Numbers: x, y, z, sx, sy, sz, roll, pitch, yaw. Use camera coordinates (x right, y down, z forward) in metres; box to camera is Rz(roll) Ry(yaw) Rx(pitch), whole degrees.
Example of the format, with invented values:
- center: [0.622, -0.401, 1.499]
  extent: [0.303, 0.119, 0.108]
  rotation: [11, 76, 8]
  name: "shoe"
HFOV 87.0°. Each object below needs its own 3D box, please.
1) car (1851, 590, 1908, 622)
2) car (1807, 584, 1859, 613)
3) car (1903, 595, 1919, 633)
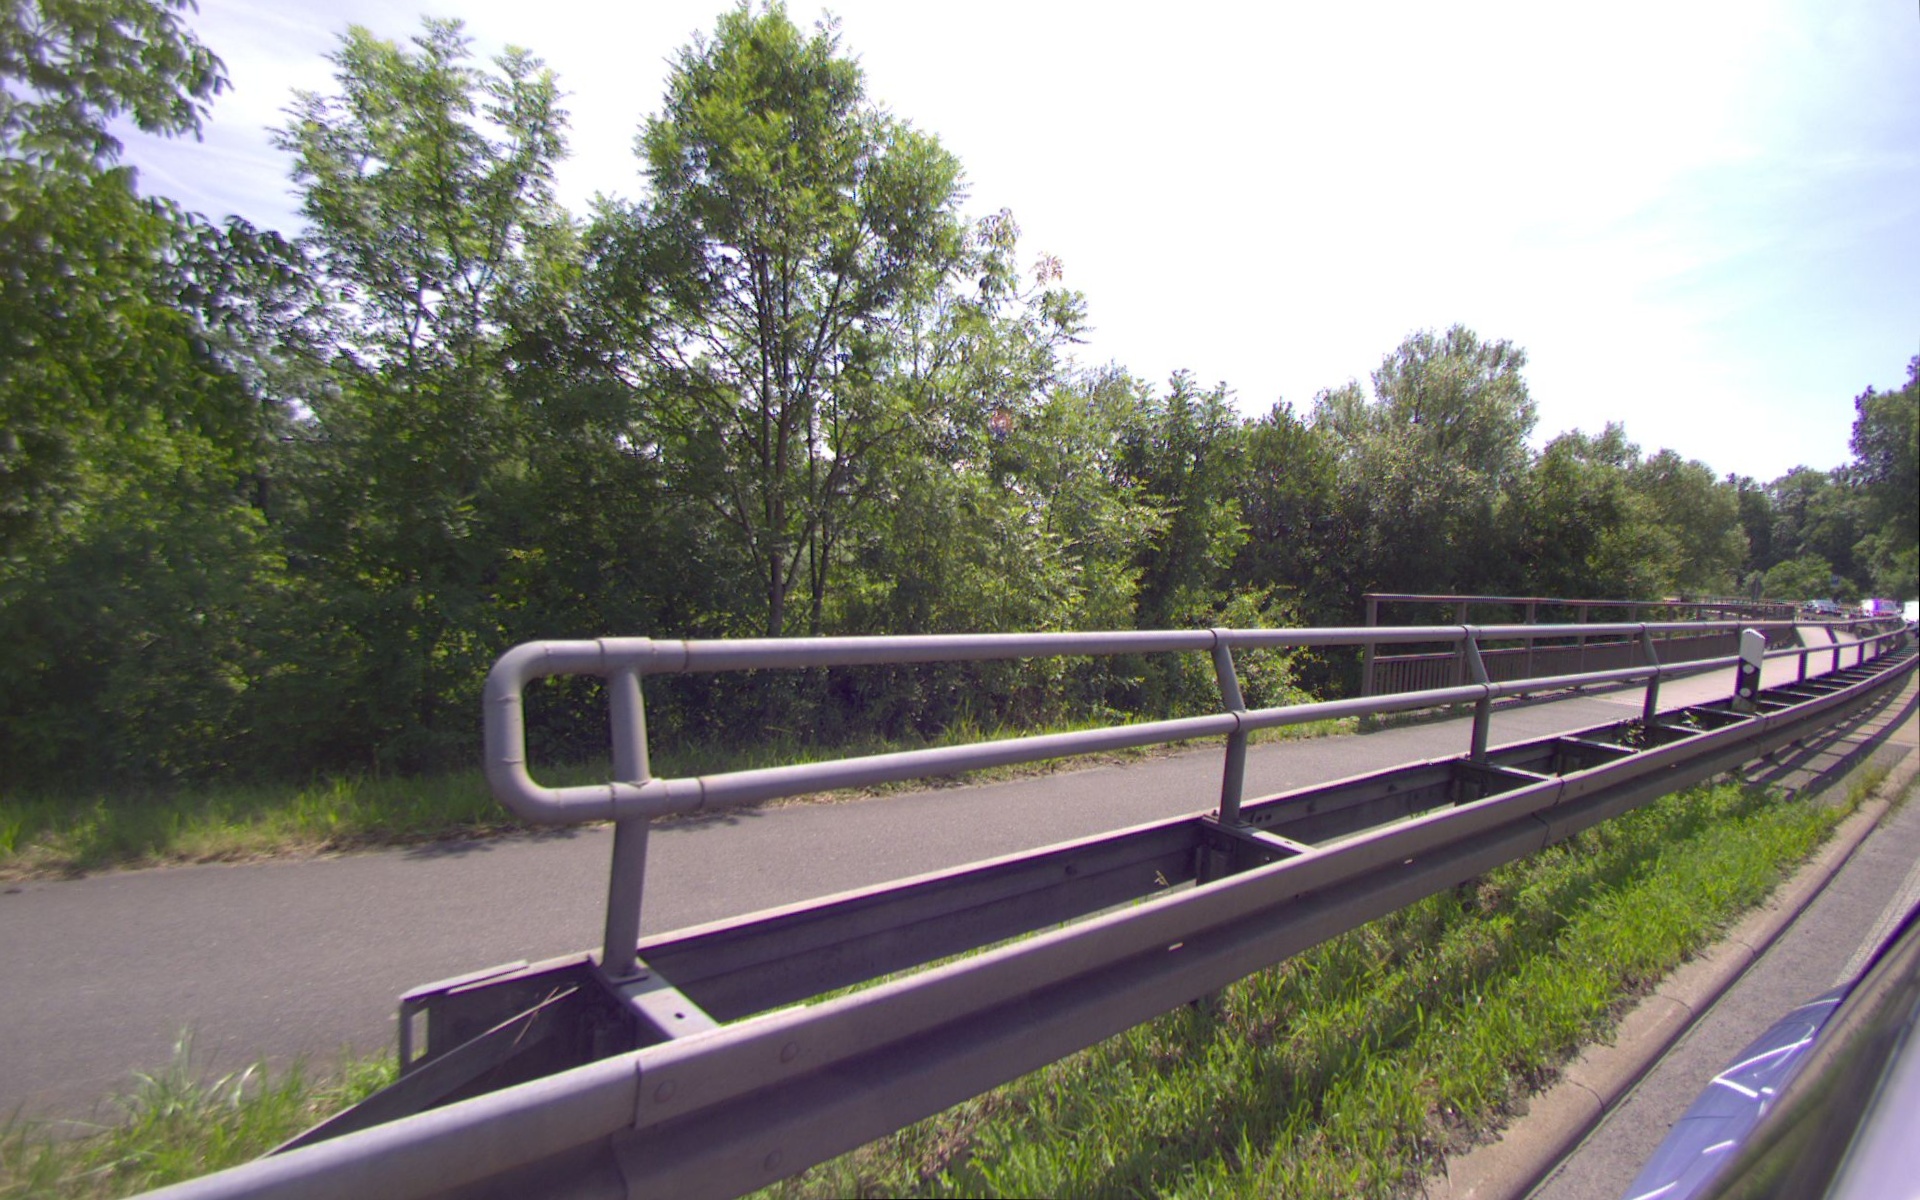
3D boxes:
- center: [52.423, 0.349, 57.780]
  extent: [1.988, 1.798, 3.947]
  rotation: [-1, -1, 37]
  name: "car"
- center: [62.248, -0.114, 72.206]
  extent: [1.982, 2.039, 3.960]
  rotation: [-1, 1, 29]
  name: "car"
- center: [44.443, 0.611, 45.953]
  extent: [1.899, 1.669, 3.897]
  rotation: [-1, -1, 37]
  name: "car"
